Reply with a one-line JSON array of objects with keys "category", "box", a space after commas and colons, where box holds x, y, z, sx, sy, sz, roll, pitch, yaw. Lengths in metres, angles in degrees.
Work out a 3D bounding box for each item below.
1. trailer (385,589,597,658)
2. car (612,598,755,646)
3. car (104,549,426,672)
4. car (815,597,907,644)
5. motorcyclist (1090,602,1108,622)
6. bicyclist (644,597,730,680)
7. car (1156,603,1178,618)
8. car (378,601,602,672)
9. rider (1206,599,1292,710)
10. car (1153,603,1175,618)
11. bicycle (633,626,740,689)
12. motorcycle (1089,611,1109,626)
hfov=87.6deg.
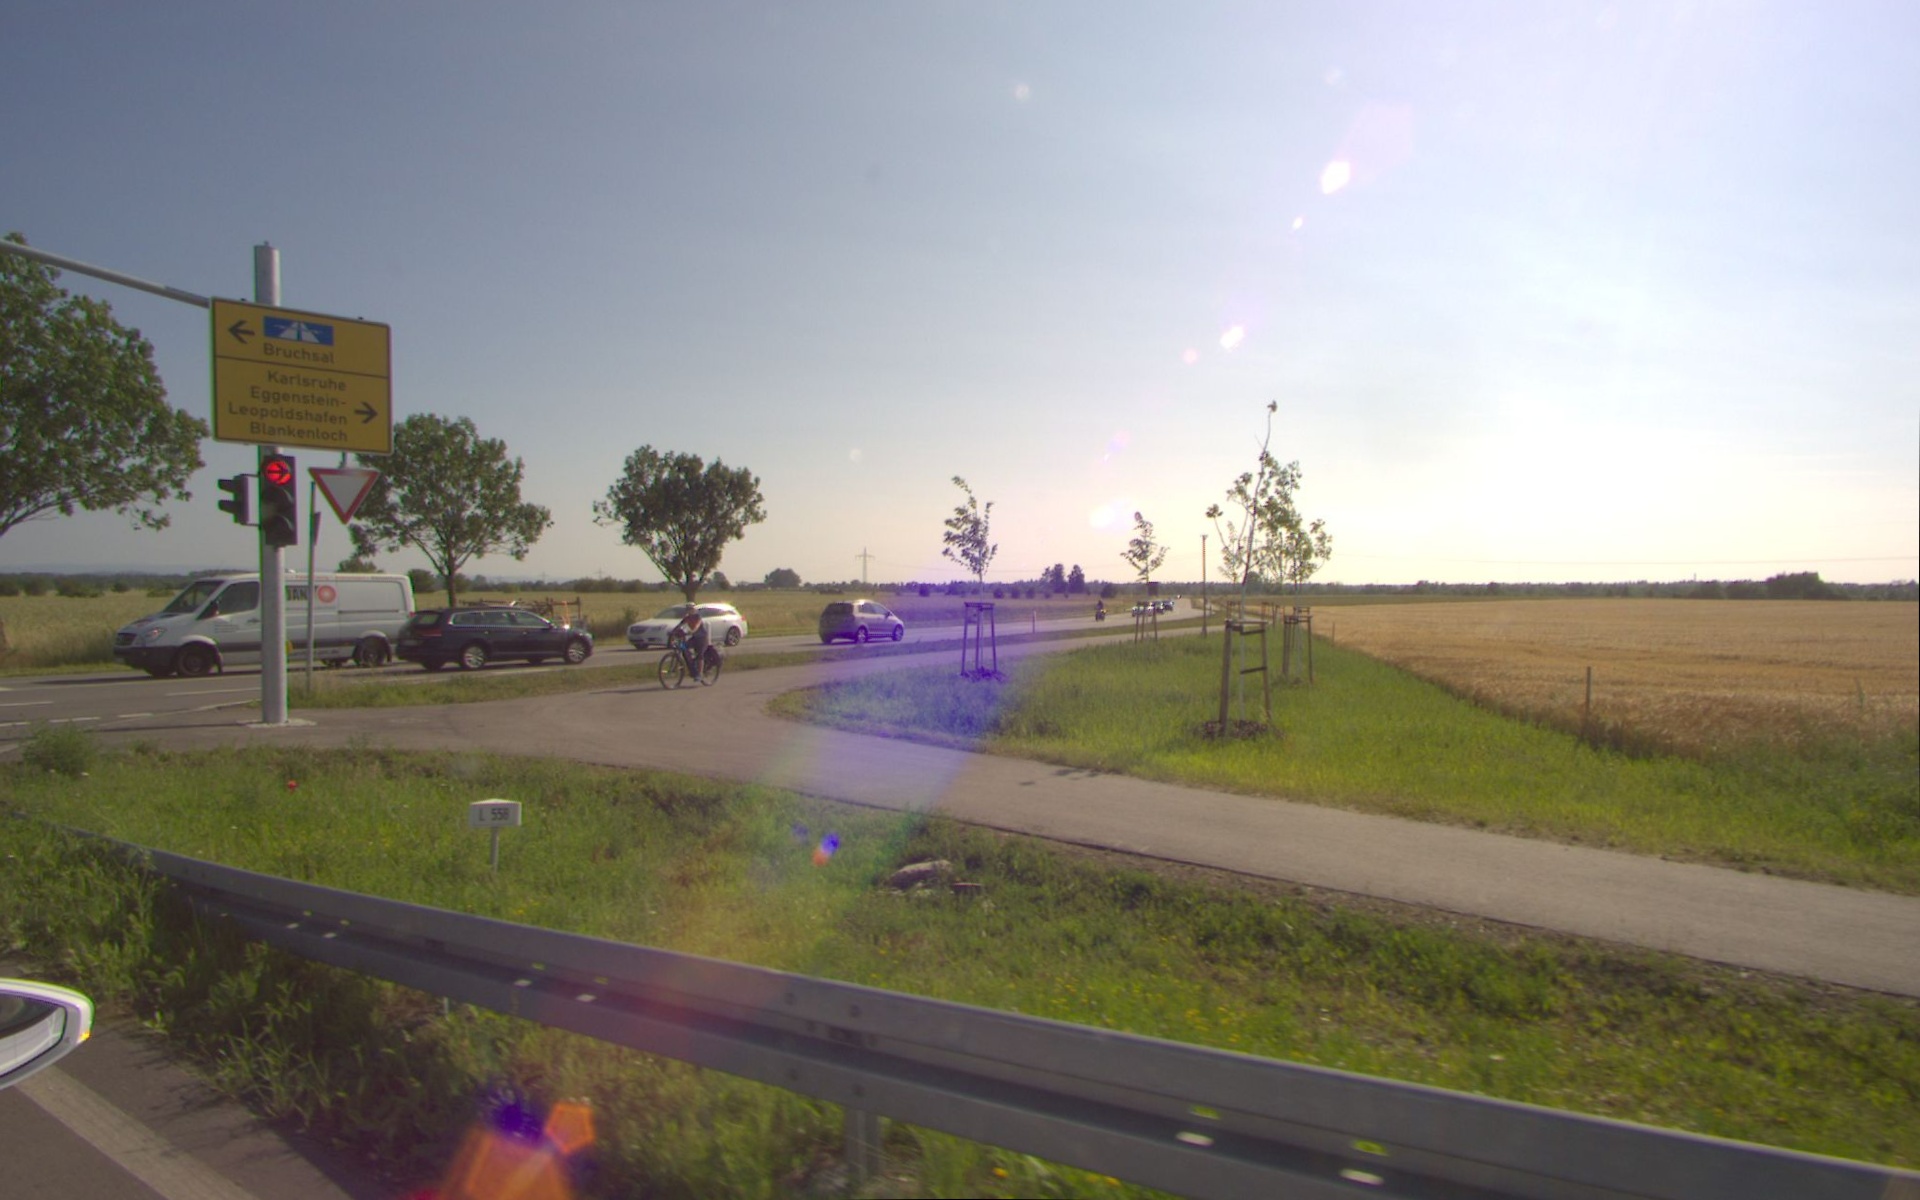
[{"category": "trailer", "box": [-13.114, 0.601, 28.365, 1.925, 1.776, 5.250, 0, 0, 32]}, {"category": "car", "box": [-9.493, 0.779, 34.798, 1.970, 1.529, 4.865, -1, -2, 29]}, {"category": "car", "box": [-16.044, 0.298, 23.591, 1.971, 2.524, 5.948, -1, -2, 32]}, {"category": "car", "box": [-3.705, 0.791, 38.077, 1.735, 1.689, 3.957, 0, -2, 25]}, {"category": "motorcyclist", "box": [10.631, 0.888, 76.477, 1.013, 1.479, 1.067, 1, 0, 29]}, {"category": "bicyclist", "box": [-5.617, 0.773, 20.641, 1.147, 1.623, 1.277, 1, 1, 29]}, {"category": "car", "box": [26.348, 1.268, 127.402, 1.964, 1.714, 4.874, 2, 1, 19]}, {"category": "car", "box": [-11.191, 0.785, 24.219, 1.893, 1.539, 4.666, 0, 0, 30]}, {"category": "rider", "box": [4.540, 0.841, 15.776, 0.973, 1.665, 0.820, 1, 2, -15]}, {"category": "car", "box": [23.230, 1.203, 113.678, 1.985, 1.610, 4.878, 1, 0, 17]}, {"category": "bicycle", "box": [-5.601, 1.154, 20.658, 0.876, 1.201, 2.154, -1, -1, 29]}, {"category": "motorcycle", "box": [10.623, 1.424, 76.540, 0.836, 1.133, 2.139, 1, -1, 28]}]
